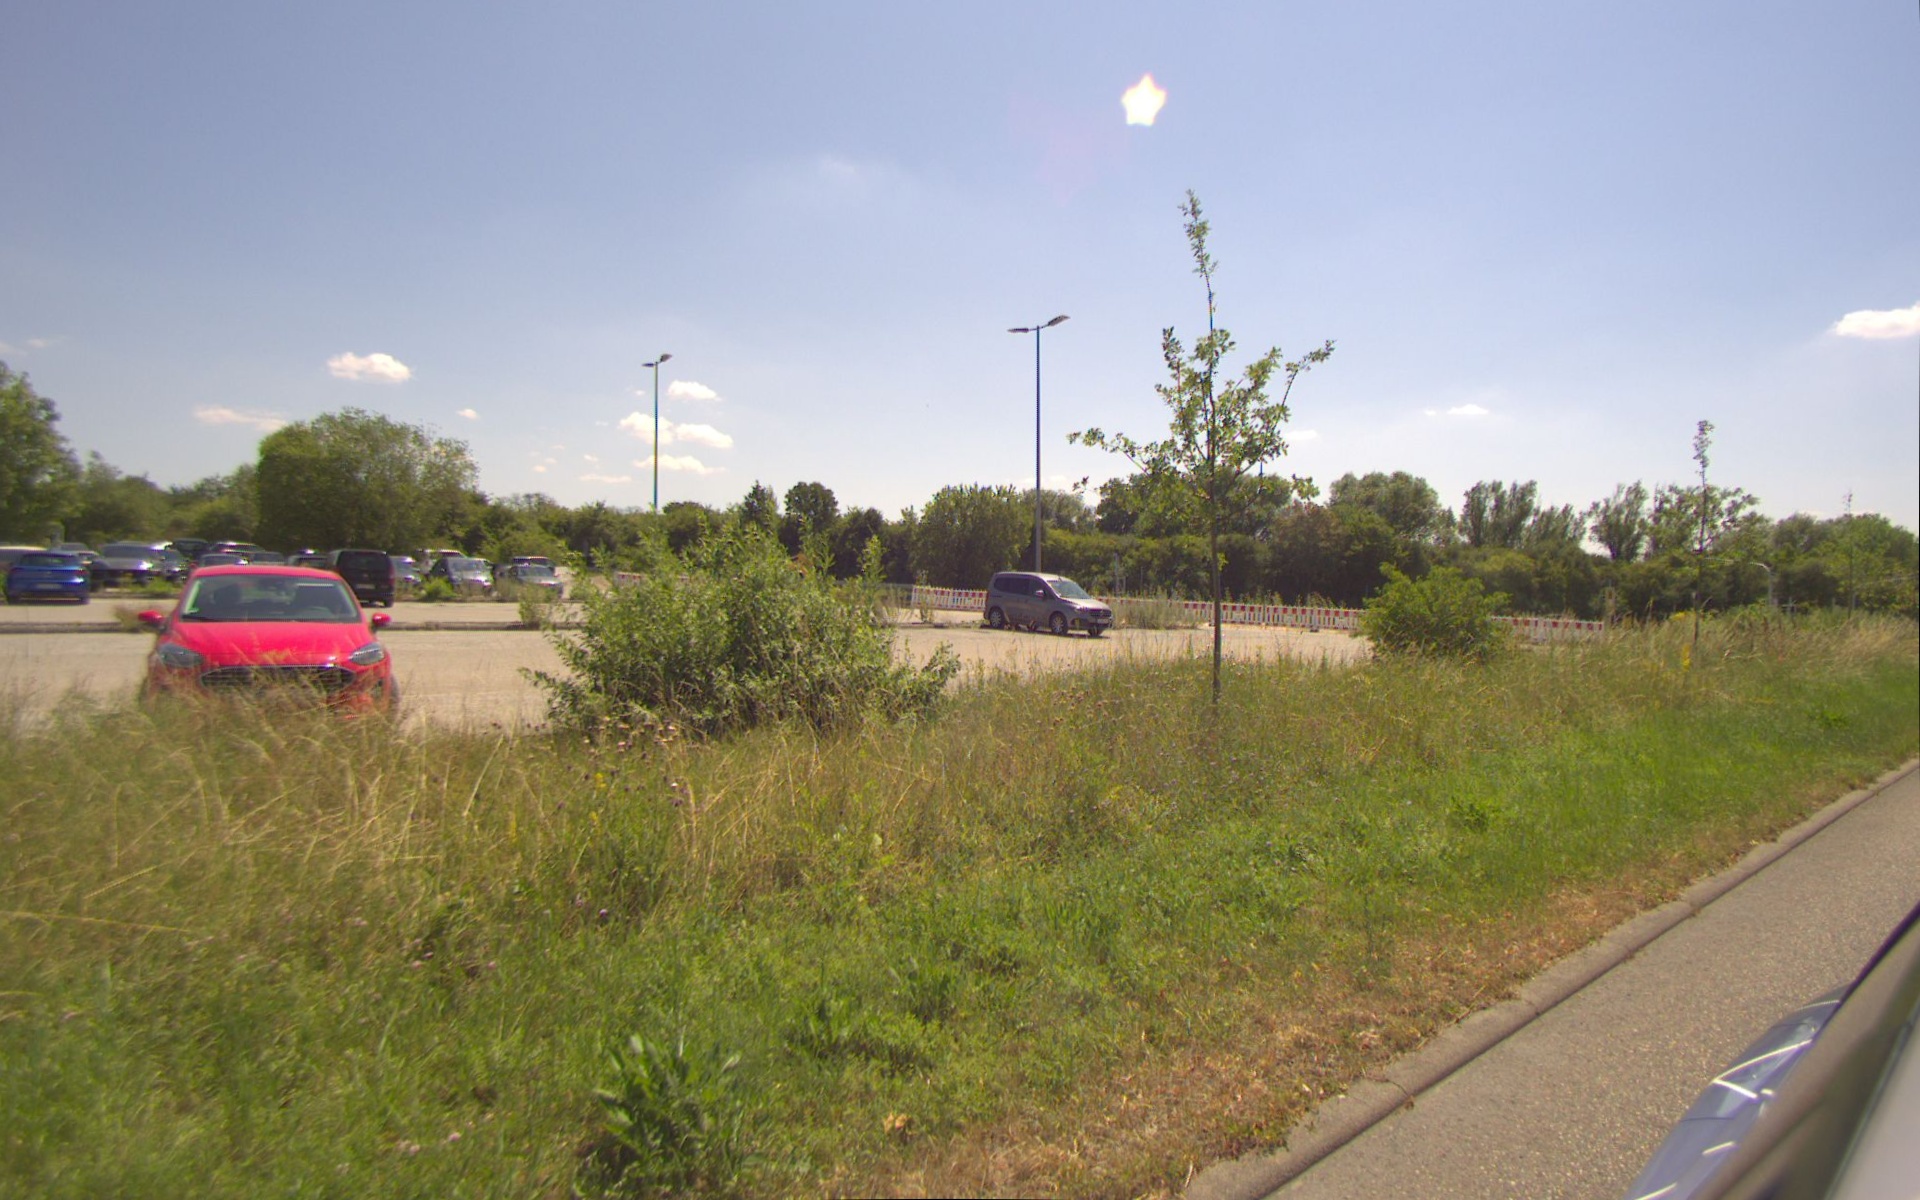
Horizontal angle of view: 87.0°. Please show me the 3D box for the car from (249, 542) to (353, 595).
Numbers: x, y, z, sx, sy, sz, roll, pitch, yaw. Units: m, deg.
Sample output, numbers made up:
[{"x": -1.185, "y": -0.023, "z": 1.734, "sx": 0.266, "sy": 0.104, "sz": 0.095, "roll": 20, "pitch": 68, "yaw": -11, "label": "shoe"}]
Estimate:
[{"x": -24.062, "y": -1.164, "z": 36.926, "sx": 3.982, "sy": 1.660, "sz": 1.971, "roll": 4, "pitch": 0, "yaw": 39, "label": "car"}]

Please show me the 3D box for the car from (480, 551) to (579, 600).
[{"x": -17.459, "y": -1.009, "z": 41.015, "sx": 3.982, "sy": 1.660, "sz": 1.971, "roll": 4, "pitch": 0, "yaw": 39, "label": "car"}]

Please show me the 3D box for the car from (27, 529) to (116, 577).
[{"x": -35.699, "y": -1.892, "z": 40.654, "sx": 3.982, "sy": 1.660, "sz": 1.971, "roll": 4, "pitch": 0, "yaw": 39, "label": "car"}]

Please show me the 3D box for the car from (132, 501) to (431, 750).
[{"x": -6.341, "y": 0.093, "z": 9.262, "sx": 1.892, "sy": 1.745, "sz": 3.997, "roll": 0, "pitch": 2, "yaw": -39, "label": "car"}]

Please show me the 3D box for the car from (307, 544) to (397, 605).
[{"x": -19.687, "y": -0.847, "z": 32.707, "sx": 1.727, "sy": 1.779, "sz": 3.994, "roll": 2, "pitch": 2, "yaw": -42, "label": "car"}]

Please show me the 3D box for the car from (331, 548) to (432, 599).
[{"x": -22.121, "y": -1.018, "z": 38.669, "sx": 3.982, "sy": 1.660, "sz": 1.971, "roll": 4, "pitch": 0, "yaw": 39, "label": "car"}]

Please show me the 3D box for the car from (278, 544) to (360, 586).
[{"x": -29.856, "y": -1.647, "z": 47.104, "sx": 3.982, "sy": 1.660, "sz": 1.971, "roll": 4, "pitch": 0, "yaw": 39, "label": "car"}]

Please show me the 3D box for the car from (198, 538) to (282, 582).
[{"x": -31.952, "y": -1.803, "z": 44.862, "sx": 3.982, "sy": 1.660, "sz": 1.971, "roll": 4, "pitch": 0, "yaw": 39, "label": "car"}]

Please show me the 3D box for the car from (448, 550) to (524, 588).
[{"x": -24.566, "y": -1.620, "z": 52.393, "sx": 3.982, "sy": 1.660, "sz": 1.971, "roll": 4, "pitch": 0, "yaw": 39, "label": "car"}]

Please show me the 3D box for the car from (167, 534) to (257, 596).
[{"x": -26.289, "y": -1.262, "z": 35.516, "sx": 1.966, "sy": 1.905, "sz": 3.992, "roll": 4, "pitch": 0, "yaw": -43, "label": "car"}]

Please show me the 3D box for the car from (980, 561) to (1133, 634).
[{"x": 2.853, "y": -0.121, "z": 30.759, "sx": 1.905, "sy": 1.938, "sz": 4.472, "roll": 2, "pitch": 2, "yaw": -41, "label": "car"}]

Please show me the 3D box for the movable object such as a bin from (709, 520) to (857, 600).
[{"x": -10.530, "y": -2.395, "z": 60.434, "sx": 7.993, "sy": 4.095, "sz": 2.973, "roll": 4, "pitch": 0, "yaw": 16, "label": "movable object such as a bin"}]

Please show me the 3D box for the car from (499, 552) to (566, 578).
[{"x": -27.271, "y": -2.230, "z": 64.694, "sx": 1.851, "sy": 1.548, "sz": 3.978, "roll": 2, "pitch": 2, "yaw": 17, "label": "car"}]

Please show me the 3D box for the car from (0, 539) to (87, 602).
[{"x": -25.310, "y": -0.829, "z": 27.853, "sx": 1.704, "sy": 1.482, "sz": 3.801, "roll": 4, "pitch": 0, "yaw": -43, "label": "car"}]

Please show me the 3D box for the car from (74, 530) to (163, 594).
[{"x": -28.302, "y": -1.306, "z": 33.999, "sx": 1.966, "sy": 1.905, "sz": 3.992, "roll": 4, "pitch": 0, "yaw": -43, "label": "car"}]

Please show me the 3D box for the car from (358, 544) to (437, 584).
[{"x": -27.475, "y": -1.751, "z": 49.408, "sx": 3.982, "sy": 1.660, "sz": 1.971, "roll": 4, "pitch": 0, "yaw": 39, "label": "car"}]

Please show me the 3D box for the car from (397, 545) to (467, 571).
[{"x": -35.009, "y": -2.764, "z": 67.205, "sx": 1.851, "sy": 1.548, "sz": 3.978, "roll": 2, "pitch": 2, "yaw": 17, "label": "car"}]

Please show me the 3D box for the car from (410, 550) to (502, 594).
[{"x": -20.008, "y": -1.128, "z": 40.131, "sx": 3.982, "sy": 1.438, "sz": 1.696, "roll": 5, "pitch": 0, "yaw": 39, "label": "car"}]

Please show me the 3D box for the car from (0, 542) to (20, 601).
[{"x": -29.866, "y": -0.969, "z": 30.272, "sx": 3.982, "sy": 1.660, "sz": 1.971, "roll": 4, "pitch": 0, "yaw": 39, "label": "car"}]

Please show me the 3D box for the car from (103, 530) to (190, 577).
[{"x": -34.003, "y": -1.954, "z": 42.283, "sx": 3.982, "sy": 1.660, "sz": 1.971, "roll": 4, "pitch": 0, "yaw": 39, "label": "car"}]
